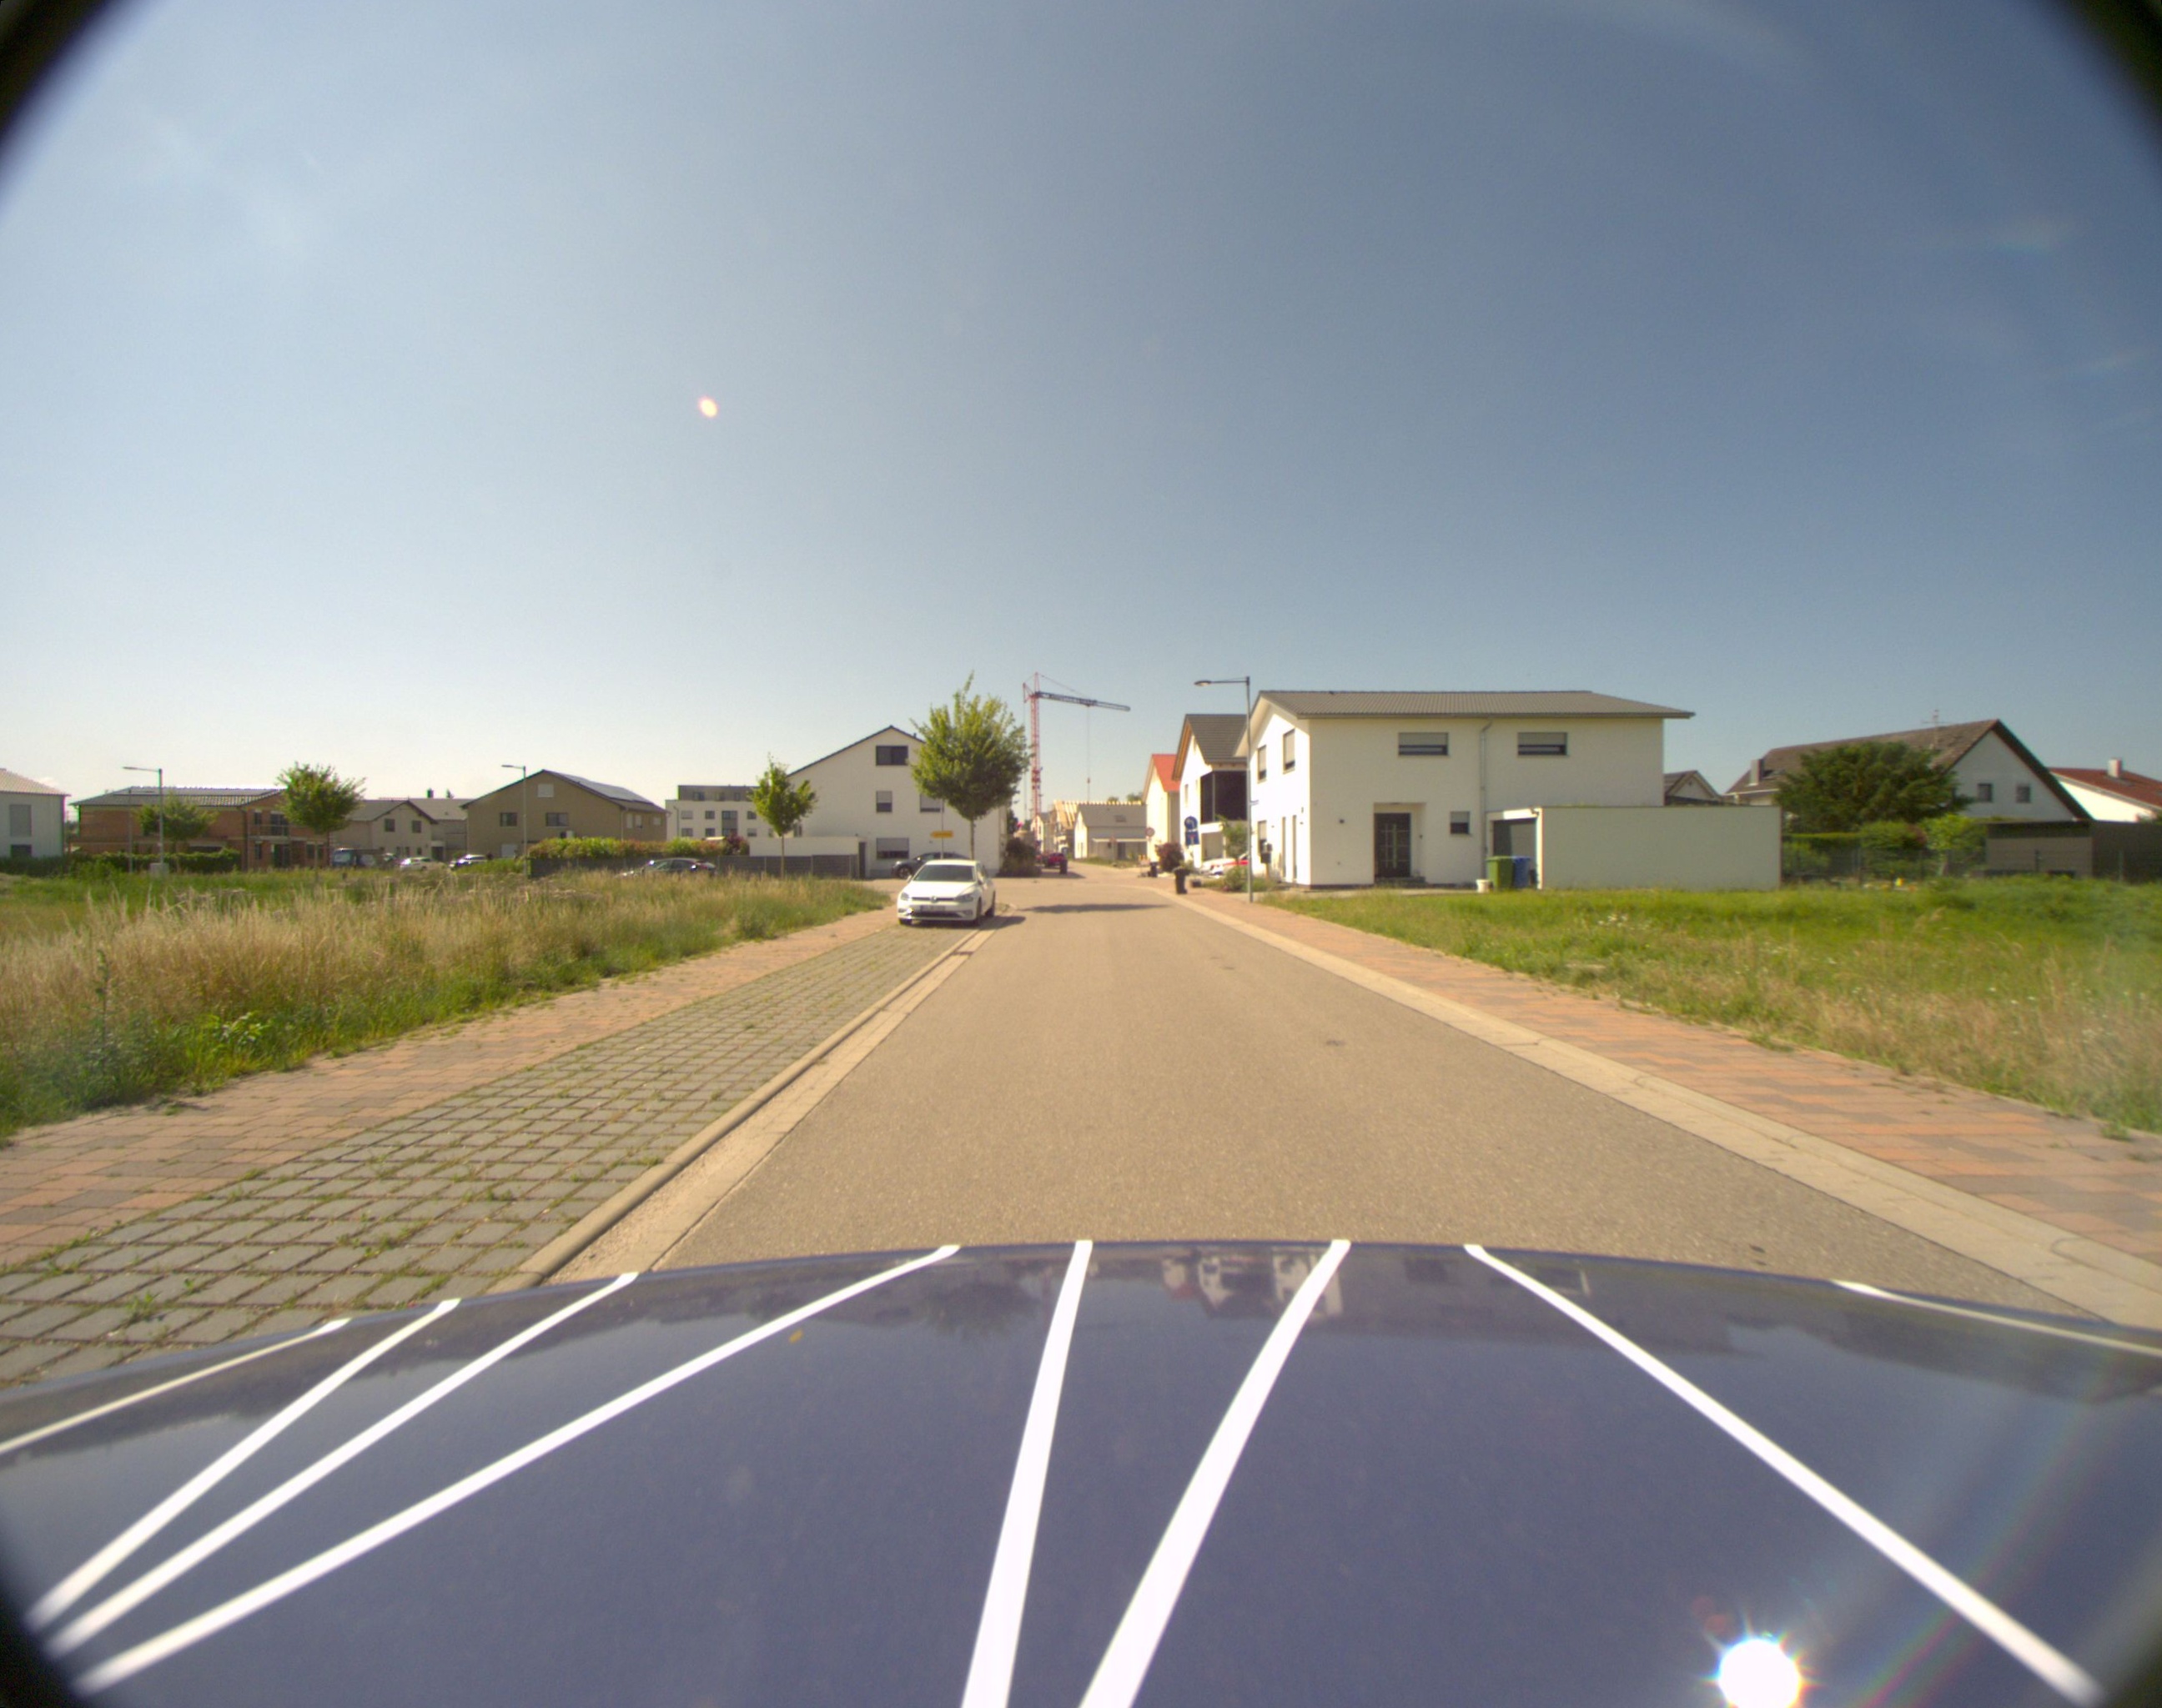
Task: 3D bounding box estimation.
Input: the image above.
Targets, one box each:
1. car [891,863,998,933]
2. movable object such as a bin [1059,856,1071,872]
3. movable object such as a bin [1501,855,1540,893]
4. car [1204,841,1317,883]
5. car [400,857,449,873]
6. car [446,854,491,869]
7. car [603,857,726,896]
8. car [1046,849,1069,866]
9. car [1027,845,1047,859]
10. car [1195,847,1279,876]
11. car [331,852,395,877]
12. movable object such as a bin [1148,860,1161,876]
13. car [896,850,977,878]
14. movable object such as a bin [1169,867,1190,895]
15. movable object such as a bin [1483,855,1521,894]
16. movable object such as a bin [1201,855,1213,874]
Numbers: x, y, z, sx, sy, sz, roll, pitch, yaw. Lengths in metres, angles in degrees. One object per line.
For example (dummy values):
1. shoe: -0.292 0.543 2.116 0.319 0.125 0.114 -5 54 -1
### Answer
1. car: -3.096 0.948 18.061 1.780 1.411 4.165 1 0 0
2. movable object such as a bin: -1.143 0.714 53.789 0.824 1.058 0.589 -1 2 -5
3. movable object such as a bin: 12.988 0.583 22.476 0.671 1.092 0.808 0 1 0
4. car: 8.275 0.340 35.284 4.749 1.864 1.937 0 1 -3
5. car: -61.372 1.036 71.138 1.668 1.392 3.916 0 0 -9
6. car: -62.359 0.758 77.441 1.750 1.494 3.996 0 0 -9
7. car: -17.870 0.944 32.758 4.193 1.485 1.848 -1 2 -7
8. car: -2.222 0.288 71.537 1.912 1.470 3.997 -1 2 -5
9. car: -5.289 -0.238 90.998 1.804 1.609 3.671 -1 2 -11
10. car: 8.513 0.398 41.561 4.164 1.553 1.744 0 1 -6
11. car: -60.426 0.828 64.016 2.000 2.002 3.996 0 1 -9
12. movable object such as a bin: 4.254 0.802 43.912 0.618 0.931 0.564 -1 0 -5
13. car: -8.290 0.555 43.918 4.348 1.549 1.960 -1 0 -3
14. movable object such as a bin: 3.498 0.947 27.050 0.625 0.943 0.499 -1 2 -5
15. movable object such as a bin: 12.362 0.594 22.342 0.661 1.092 0.784 0 1 -1
16. movable object such as a bin: 7.401 0.627 44.679 0.500 1.085 0.601 -1 0 -5
